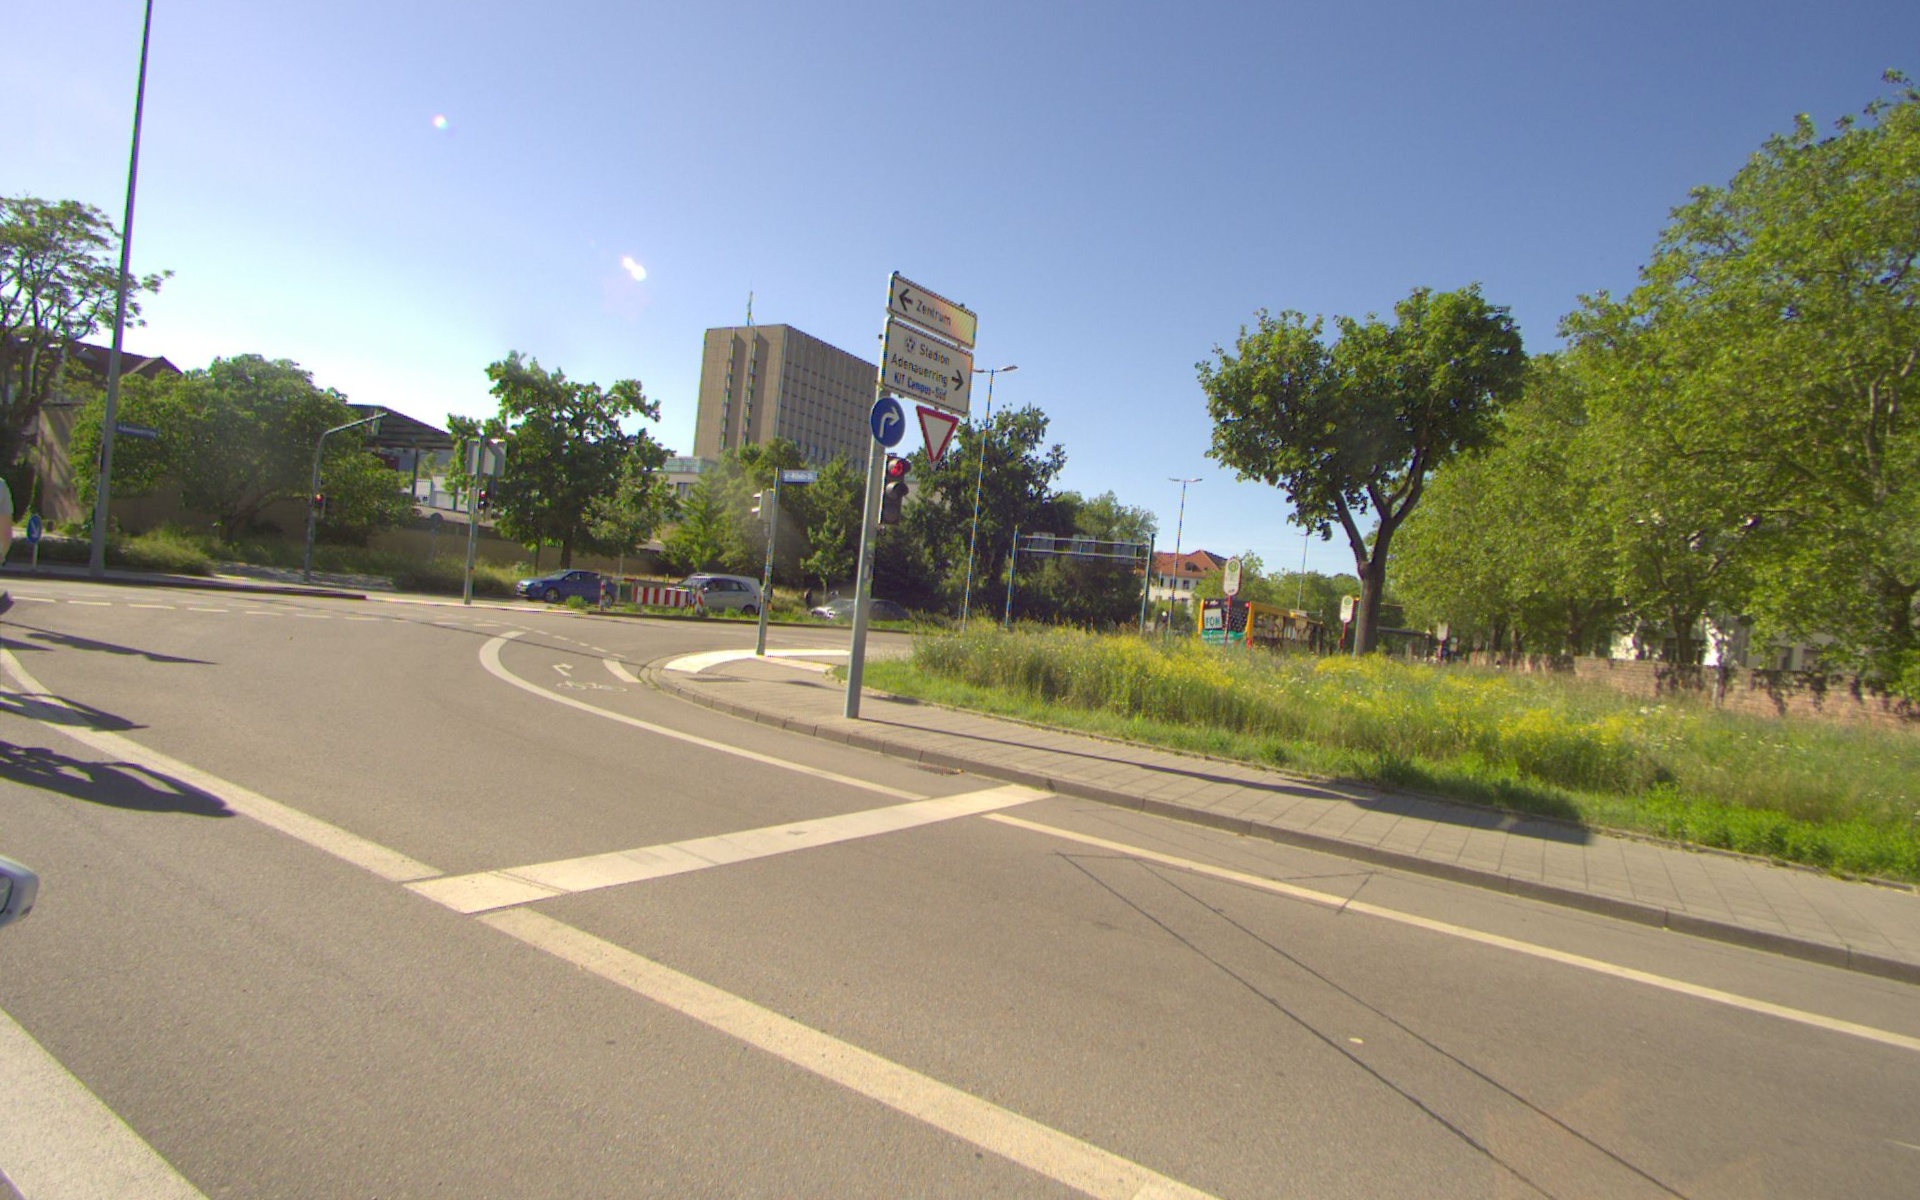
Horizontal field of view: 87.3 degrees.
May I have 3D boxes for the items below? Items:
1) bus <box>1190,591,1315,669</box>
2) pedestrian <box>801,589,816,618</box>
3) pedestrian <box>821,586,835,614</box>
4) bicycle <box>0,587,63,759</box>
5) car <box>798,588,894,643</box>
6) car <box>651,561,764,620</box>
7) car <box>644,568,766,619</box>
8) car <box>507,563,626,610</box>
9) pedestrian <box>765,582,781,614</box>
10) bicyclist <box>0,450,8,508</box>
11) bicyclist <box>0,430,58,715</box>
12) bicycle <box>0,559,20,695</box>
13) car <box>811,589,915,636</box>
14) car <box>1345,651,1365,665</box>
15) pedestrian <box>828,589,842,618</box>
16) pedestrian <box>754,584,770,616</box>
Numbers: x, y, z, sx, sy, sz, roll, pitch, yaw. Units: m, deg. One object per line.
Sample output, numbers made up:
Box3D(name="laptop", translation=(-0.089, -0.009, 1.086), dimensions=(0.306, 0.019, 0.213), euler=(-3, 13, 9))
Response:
Box3D(name="bus", translation=(14.305, 1.581, 48.404), dimensions=(2.752, 2.662, 10.096), euler=(6, -2, 33))
Box3D(name="pedestrian", translation=(-9.555, 0.230, 63.442), dimensions=(0.519, 1.801, 0.561), euler=(7, 1, 35))
Box3D(name="pedestrian", translation=(-8.598, -0.009, 65.452), dimensions=(0.519, 1.716, 0.561), euler=(7, 1, 35))
Box3D(name="bicycle", translation=(-6.300, 0.349, 6.092), dimensions=(1.946, 0.906, 0.741), euler=(6, -2, 33))
Box3D(name="car", translation=(-5.716, 0.819, 51.045), dimensions=(1.969, 2.186, 4.783), euler=(6, -2, 35))
Box3D(name="car", translation=(-11.960, -0.402, 47.943), dimensions=(1.970, 2.131, 4.881), euler=(6, -2, 37))
Box3D(name="car", translation=(-9.436, -0.214, 37.430), dimensions=(1.840, 1.426, 4.046), euler=(6, 0, 38))
Box3D(name="car", translation=(-16.097, -0.516, 41.340), dimensions=(1.717, 1.453, 4.163), euler=(7, 0, 37))
Box3D(name="pedestrian", translation=(-11.067, -0.121, 59.480), dimensions=(0.519, 1.801, 0.561), euler=(7, 1, 35))
Box3D(name="bicyclist", translation=(-8.143, -0.373, 7.781), dimensions=(1.048, 1.759, 0.647), euler=(7, -1, 26))
Box3D(name="bicyclist", translation=(-6.225, -0.218, 6.092), dimensions=(1.000, 1.688, 0.752), euler=(6, -1, 33))
Box3D(name="bicycle", translation=(-8.208, 0.088, 7.775), dimensions=(1.935, 1.014, 0.661), euler=(6, -1, 26))
Box3D(name="car", translation=(-4.243, 0.588, 44.821), dimensions=(1.968, 1.604, 4.736), euler=(6, 0, 33))
Box3D(name="car", translation=(48.529, 7.145, 123.581), dimensions=(1.812, 1.405, 4.066), euler=(4, -2, 27))
Box3D(name="pedestrian", translation=(-8.076, 0.213, 64.990), dimensions=(0.519, 1.801, 0.561), euler=(7, 1, 35))
Box3D(name="pedestrian", translation=(-11.735, 0.018, 59.713), dimensions=(0.519, 1.801, 0.561), euler=(7, 1, 35))
